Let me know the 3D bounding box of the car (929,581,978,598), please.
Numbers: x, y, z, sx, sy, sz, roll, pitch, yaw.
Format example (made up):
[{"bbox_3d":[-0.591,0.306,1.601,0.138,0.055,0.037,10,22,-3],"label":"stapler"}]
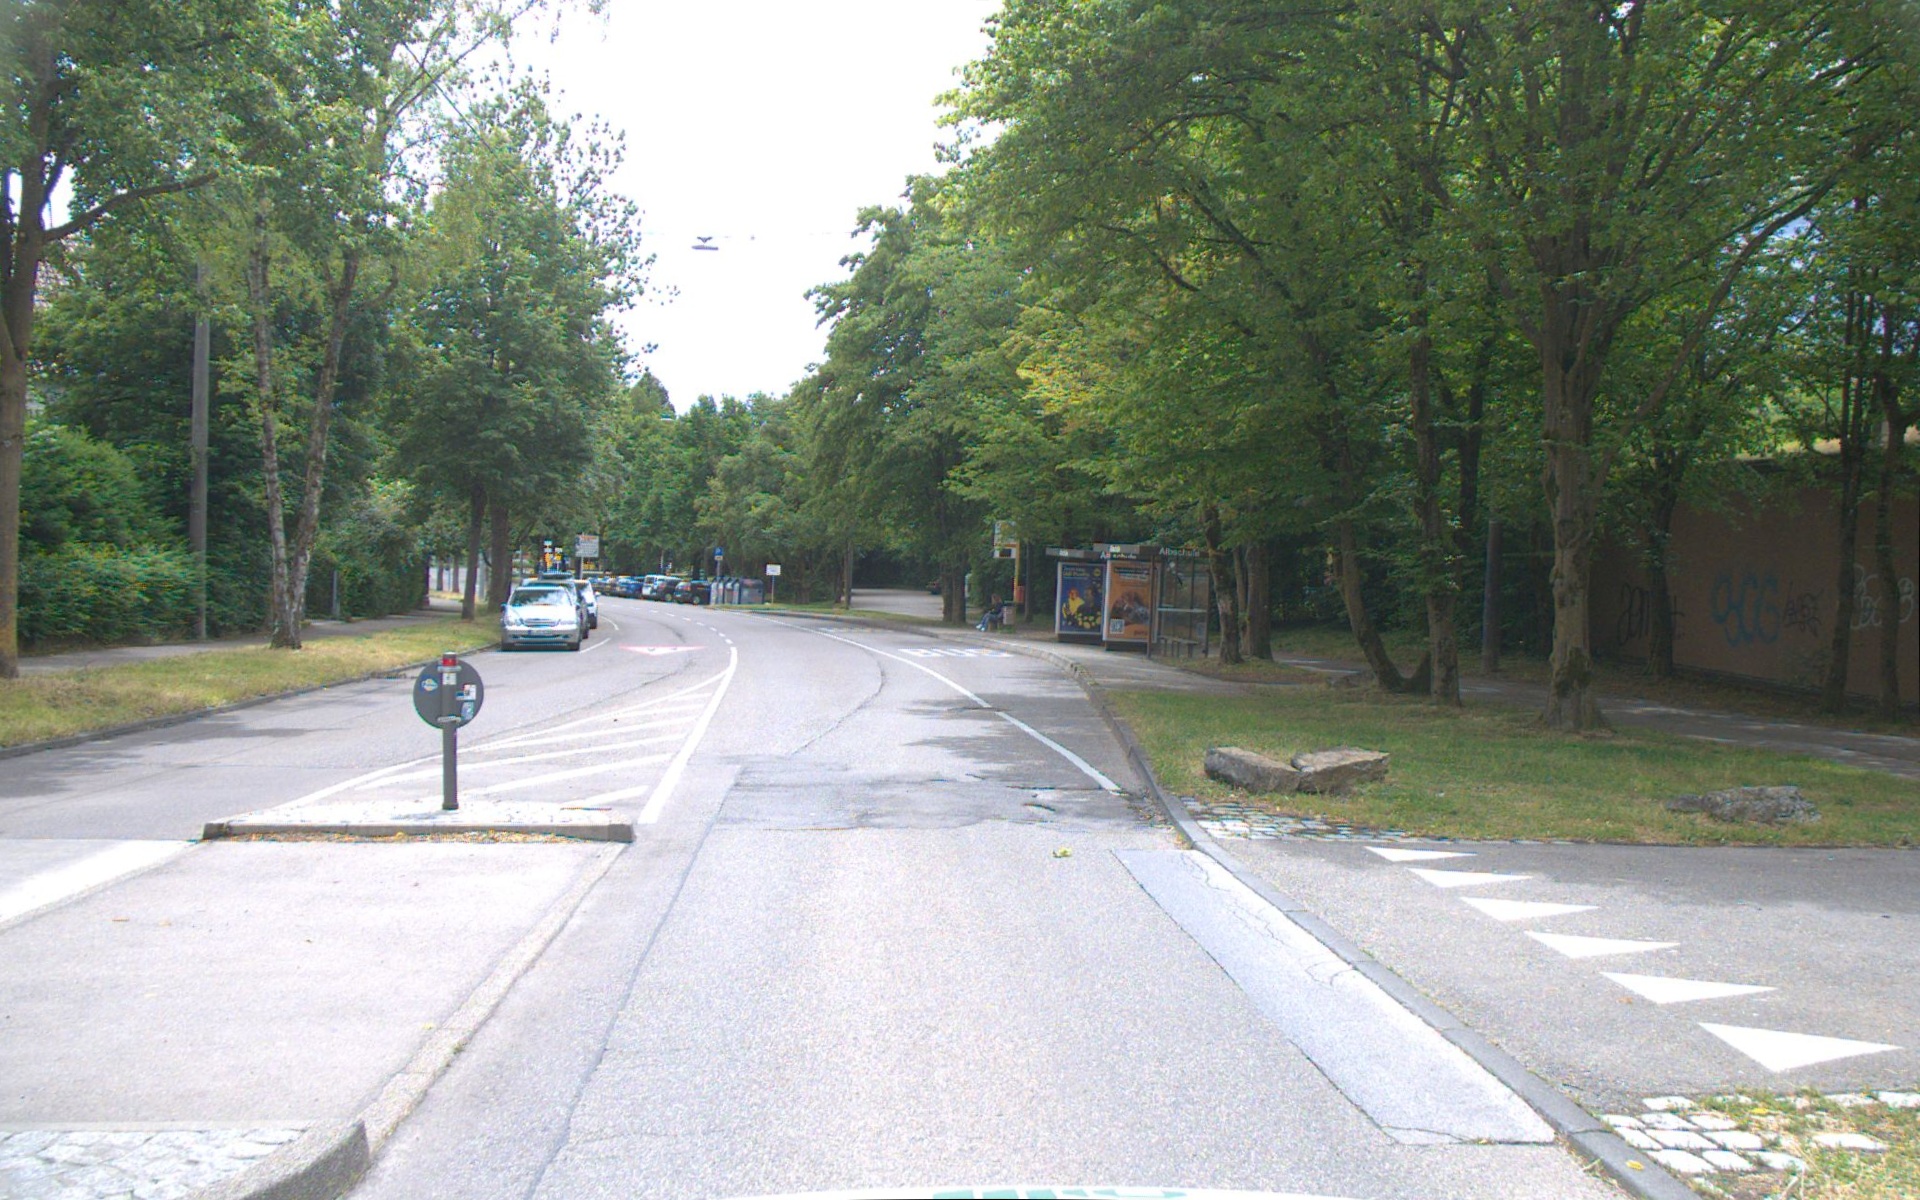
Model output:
[{"bbox_3d":[-0.560,-0.949,144.075,3.924,1.434,1.791,1,0,-18],"label":"car"}]

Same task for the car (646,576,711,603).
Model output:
[{"bbox_3d":[-18.264,-0.677,107.528,3.799,1.493,1.720,4,-1,-43],"label":"car"}]

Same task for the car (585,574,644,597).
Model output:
[{"bbox_3d":[-25.322,-1.056,121.327,3.853,1.451,1.802,4,-2,-43],"label":"car"}]

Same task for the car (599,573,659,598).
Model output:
[{"bbox_3d":[-23.729,-1.018,118.617,3.799,1.555,1.719,4,-2,-43],"label":"car"}]

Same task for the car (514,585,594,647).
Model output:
[{"bbox_3d":[-10.790,0.375,44.175,1.703,1.565,4.181,0,1,-9],"label":"car"}]

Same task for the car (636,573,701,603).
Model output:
[{"bbox_3d":[-19.362,-0.776,110.002,3.799,1.750,1.849,4,-2,-43],"label":"car"}]

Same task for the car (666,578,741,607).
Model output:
[{"bbox_3d":[-15.441,-0.432,99.651,3.966,1.438,2.026,4,0,-43],"label":"car"}]

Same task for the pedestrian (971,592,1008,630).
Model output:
[{"bbox_3d":[0.950,0.363,53.168,1.046,1.203,0.578,1,0,-15],"label":"pedestrian"}]

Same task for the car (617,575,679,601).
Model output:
[{"bbox_3d":[-21.537,-0.814,114.285,3.799,1.555,1.719,4,-2,-43],"label":"car"}]

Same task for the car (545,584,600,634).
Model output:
[{"bbox_3d":[-12.996,0.263,55.657,1.705,1.606,4.129,0,1,-12],"label":"car"}]

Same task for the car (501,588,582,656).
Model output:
[{"bbox_3d":[-9.625,0.464,37.989,1.707,1.441,4.454,0,1,-15],"label":"car"}]
